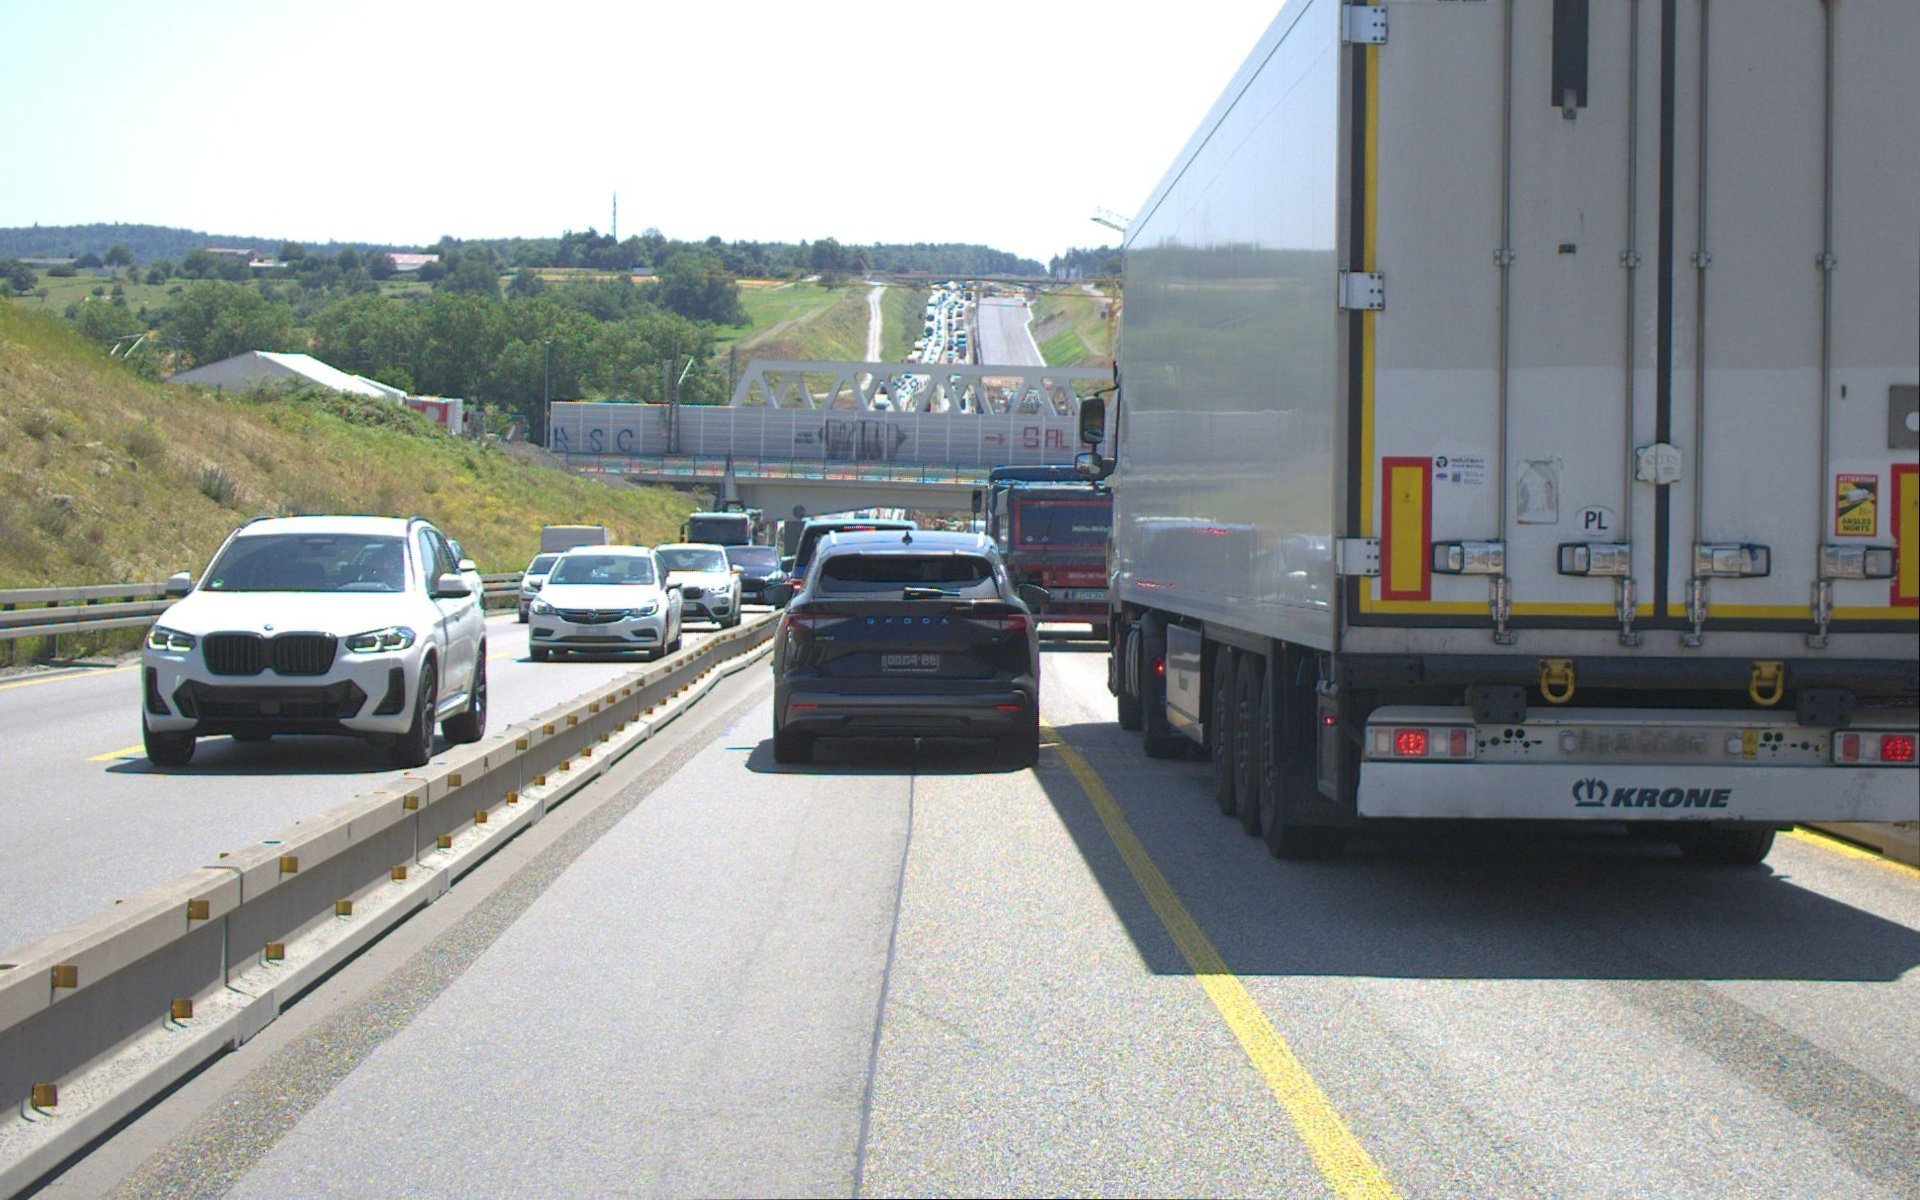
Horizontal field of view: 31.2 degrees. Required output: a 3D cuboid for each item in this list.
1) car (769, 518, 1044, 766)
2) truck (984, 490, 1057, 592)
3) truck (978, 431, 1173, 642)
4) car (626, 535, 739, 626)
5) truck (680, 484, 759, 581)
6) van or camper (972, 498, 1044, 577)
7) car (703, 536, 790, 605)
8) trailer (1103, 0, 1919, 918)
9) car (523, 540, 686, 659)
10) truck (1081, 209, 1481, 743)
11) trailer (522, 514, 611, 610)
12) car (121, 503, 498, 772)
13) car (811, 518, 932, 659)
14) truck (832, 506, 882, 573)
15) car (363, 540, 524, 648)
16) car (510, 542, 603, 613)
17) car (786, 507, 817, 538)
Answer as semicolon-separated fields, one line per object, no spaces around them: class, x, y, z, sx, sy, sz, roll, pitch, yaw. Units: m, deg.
car;-0.370;0.238;24.257;1.800;1.615;3.298;0;1;-1
truck;2.414;-2.412;139.743;2.517;3.945;7.600;2;1;-1
truck;1.755;-1.029;57.631;2.814;3.124;12.838;0;1;0
car;-5.074;-0.384;63.334;1.815;1.587;4.290;1;1;-1
truck;-9.487;-2.673;136.437;2.587;3.710;9.333;0;1;-1
van or camper;1.413;-1.874;102.487;1.993;2.237;4.000;2;1;0
car;-5.351;-0.763;86.611;1.891;1.702;4.561;0;1;0
trailer;2.660;-0.869;20.429;2.801;4.044;14.117;0;1;-1
car;-4.681;-0.042;45.723;1.806;1.472;4.280;1;1;-1
truck;2.531;-0.971;28.659;2.776;4.044;4.905;0;1;-1
trailer;-8.466;-0.832;74.204;1.646;2.018;4.271;0;1;-3
car;-4.485;0.198;24.372;1.891;1.702;4.562;1;1;-1
car;-1.137;-0.181;45.331;1.475;1.789;3.298;0;1;0
truck;-6.008;-3.551;201.686;2.767;3.871;4.964;1;1;-1
car;-7.934;-0.125;53.201;1.899;1.579;4.515;1;1;-1
car;-8.300;-0.487;70.941;1.646;1.411;4.001;0;1;-3
car;-9.353;-4.564;202.847;1.732;1.787;3.581;1;1;-1
